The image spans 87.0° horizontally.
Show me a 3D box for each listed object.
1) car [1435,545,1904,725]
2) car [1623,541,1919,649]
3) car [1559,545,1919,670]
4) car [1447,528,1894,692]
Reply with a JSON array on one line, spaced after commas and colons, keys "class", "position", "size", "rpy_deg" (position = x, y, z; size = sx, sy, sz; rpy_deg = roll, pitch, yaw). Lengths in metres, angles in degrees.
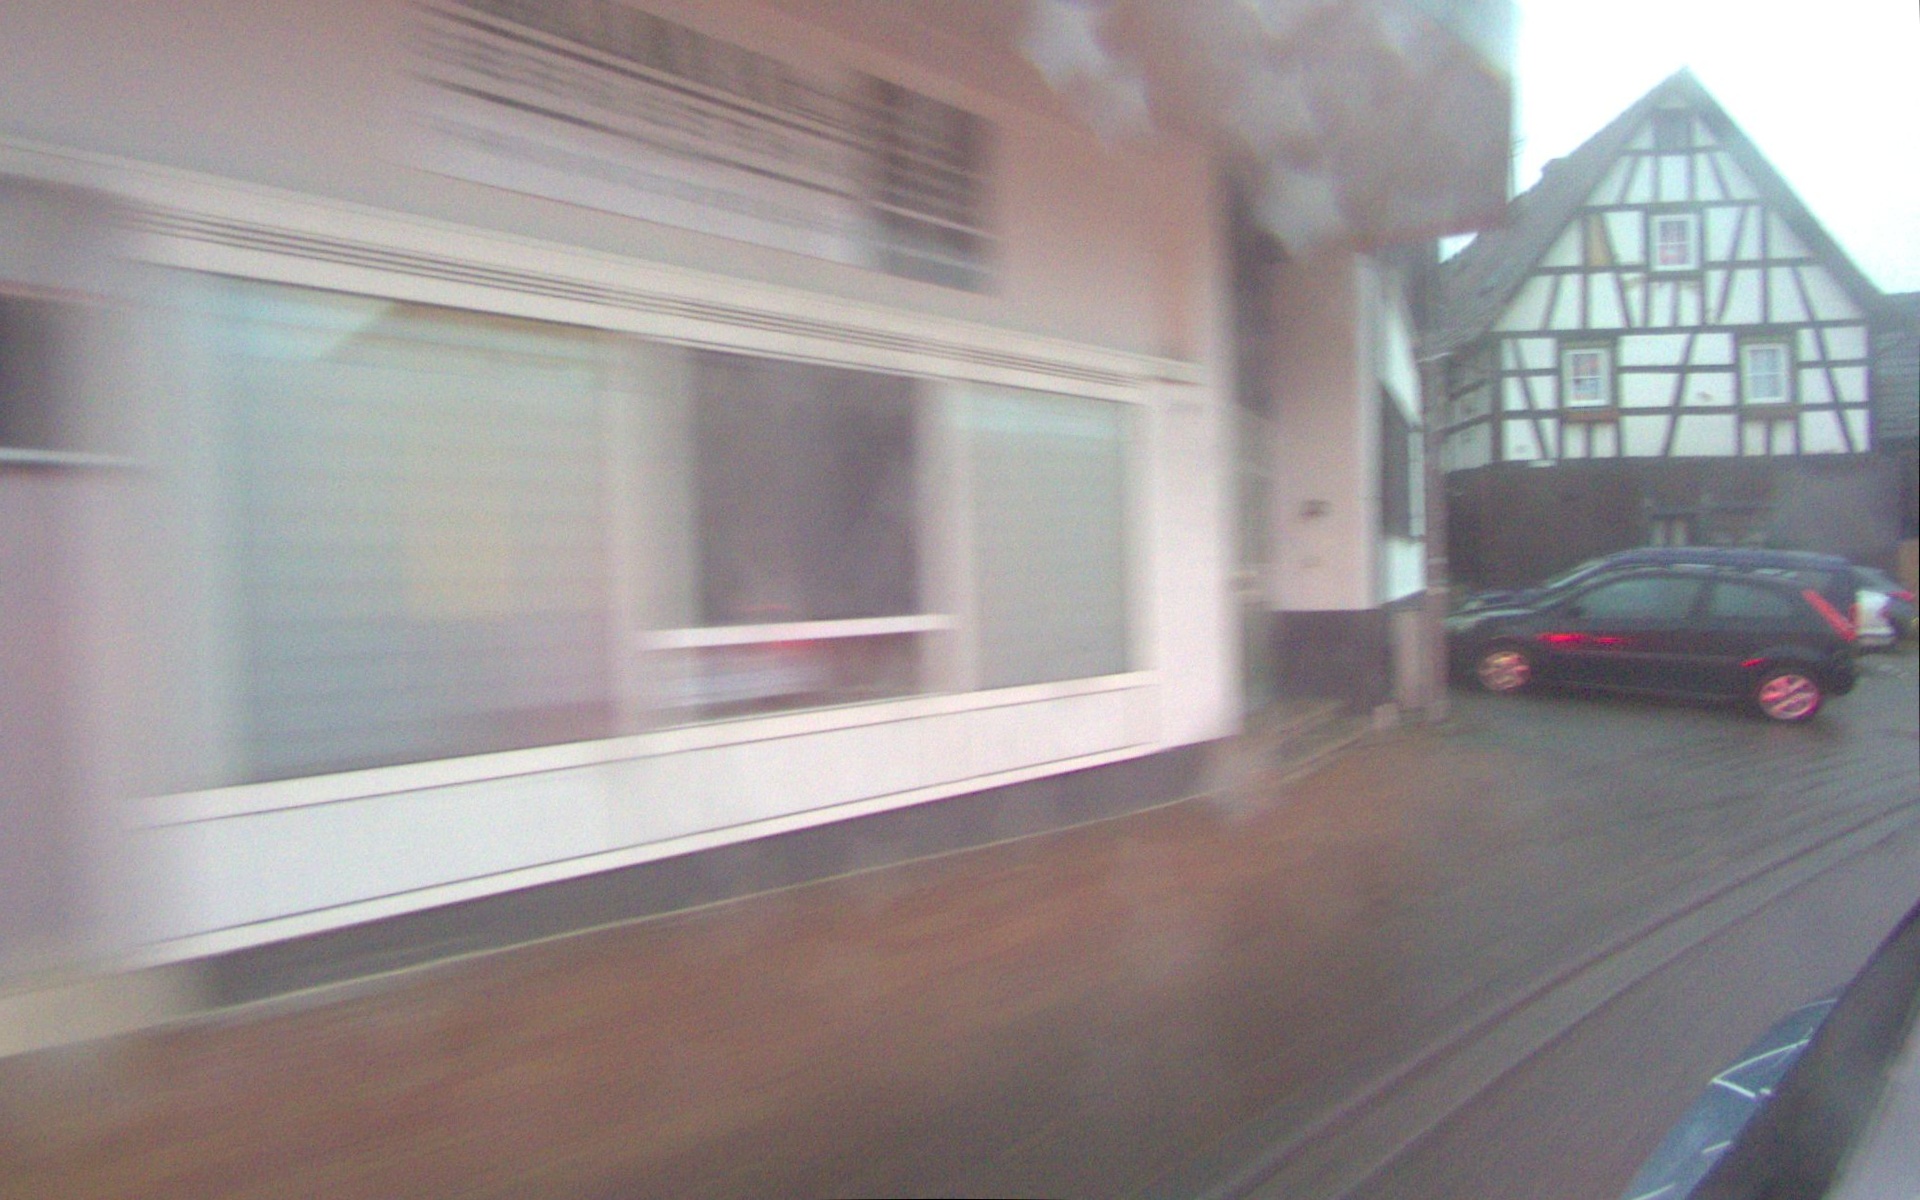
[{"class": "car", "position": [7.487, 0.236, 11.203], "size": [3.860, 1.467, 1.871], "rpy_deg": [5, 6, 29]}, {"class": "car", "position": [13.966, -0.153, 17.387], "size": [3.939, 1.533, 1.587], "rpy_deg": [4, 5, 22]}, {"class": "car", "position": [11.382, 0.011, 15.130], "size": [4.003, 1.437, 1.798], "rpy_deg": [5, 6, 29]}, {"class": "car", "position": [8.920, -0.014, 13.279], "size": [4.436, 1.680, 1.839], "rpy_deg": [5, 5, 27]}]
